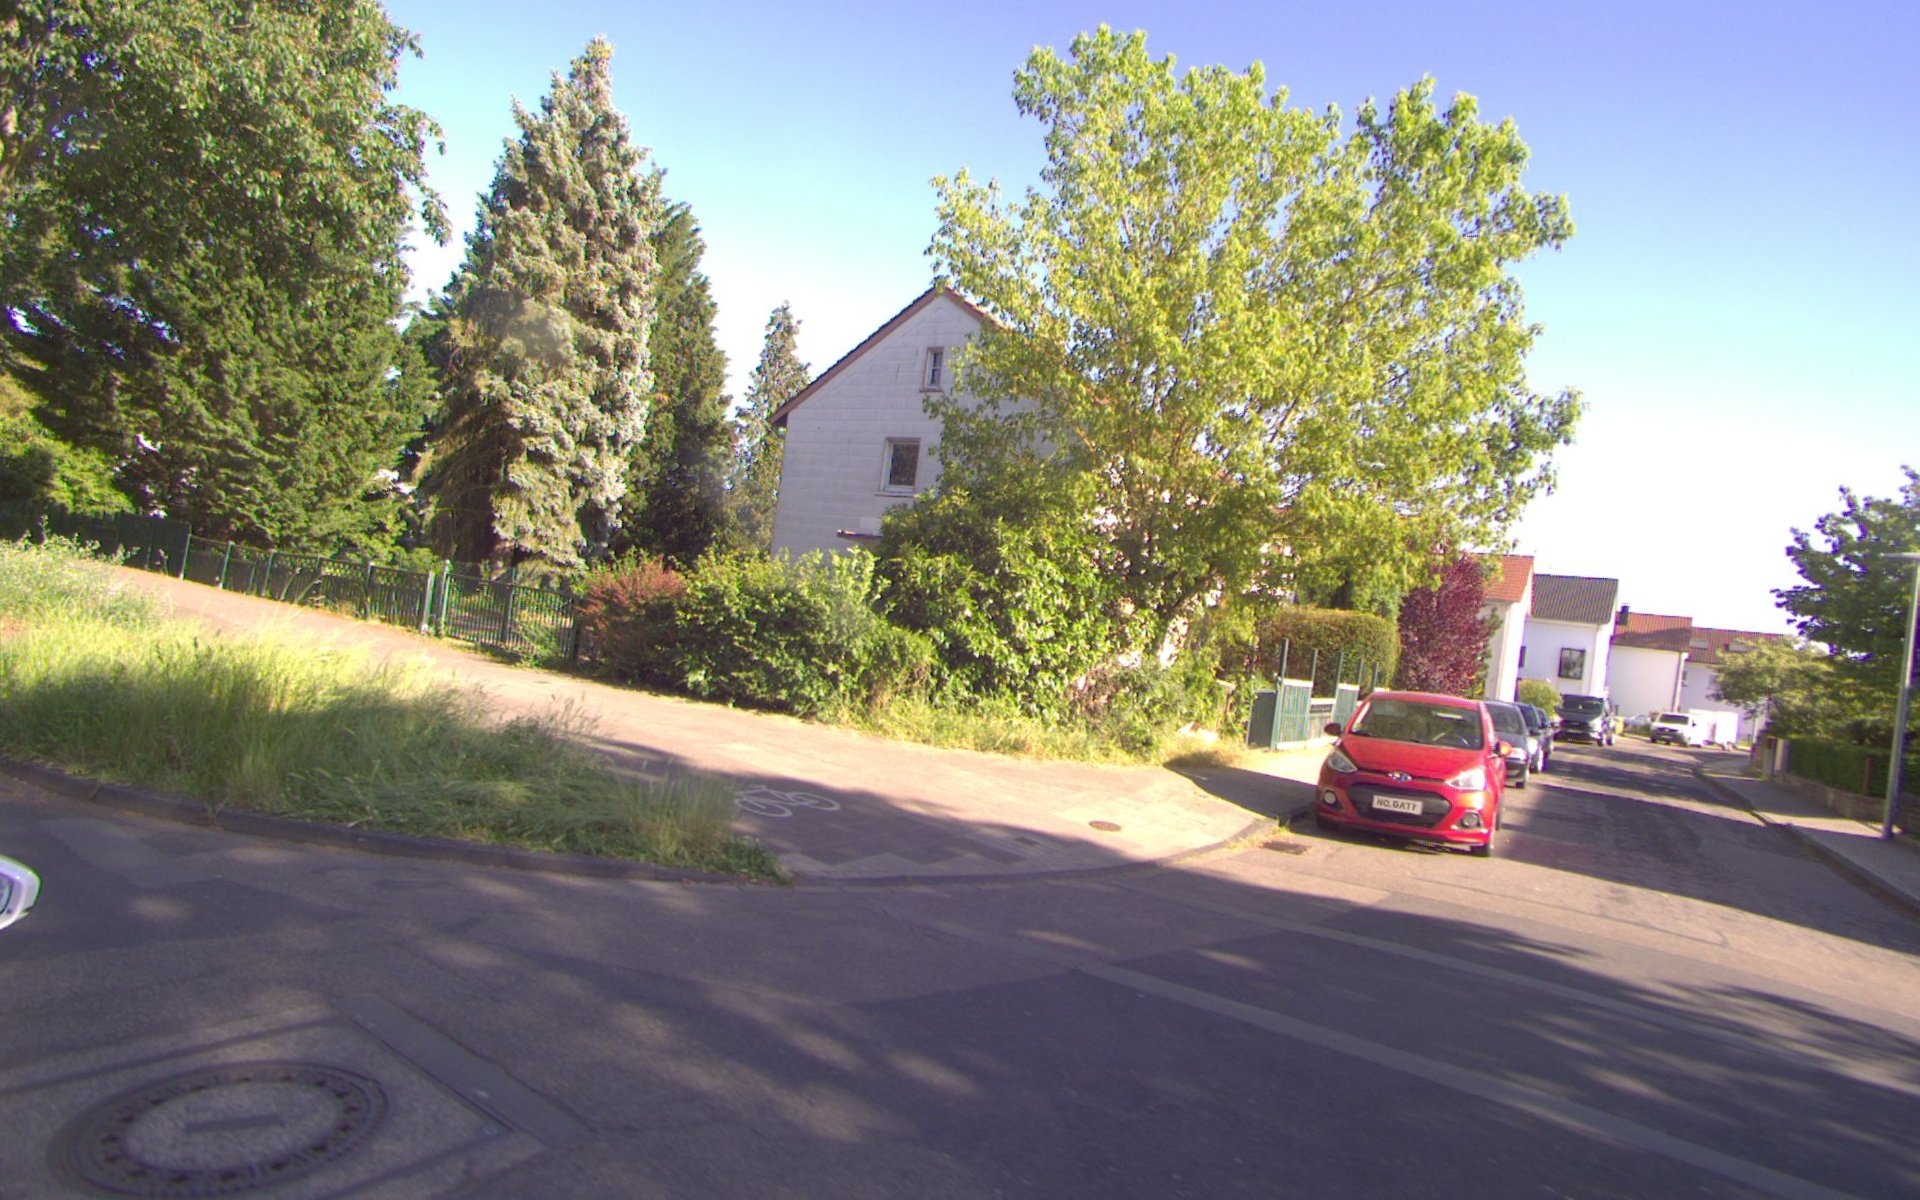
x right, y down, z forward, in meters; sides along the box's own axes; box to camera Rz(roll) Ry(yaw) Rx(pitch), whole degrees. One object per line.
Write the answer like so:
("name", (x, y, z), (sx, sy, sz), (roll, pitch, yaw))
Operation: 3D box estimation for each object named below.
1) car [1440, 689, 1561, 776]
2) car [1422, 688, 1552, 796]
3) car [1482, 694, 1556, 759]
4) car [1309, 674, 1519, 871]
("car", (12.430, 2.973, 22.985), (1.858, 1.528, 4.303), (7, -1, 34))
("car", (9.911, 2.578, 18.932), (1.811, 1.528, 3.963), (7, -1, 29))
("car", (16.141, 3.635, 29.124), (1.612, 1.528, 3.550), (7, -2, 29))
("car", (5.060, 1.753, 11.013), (1.612, 1.528, 3.550), (8, -1, 29))
